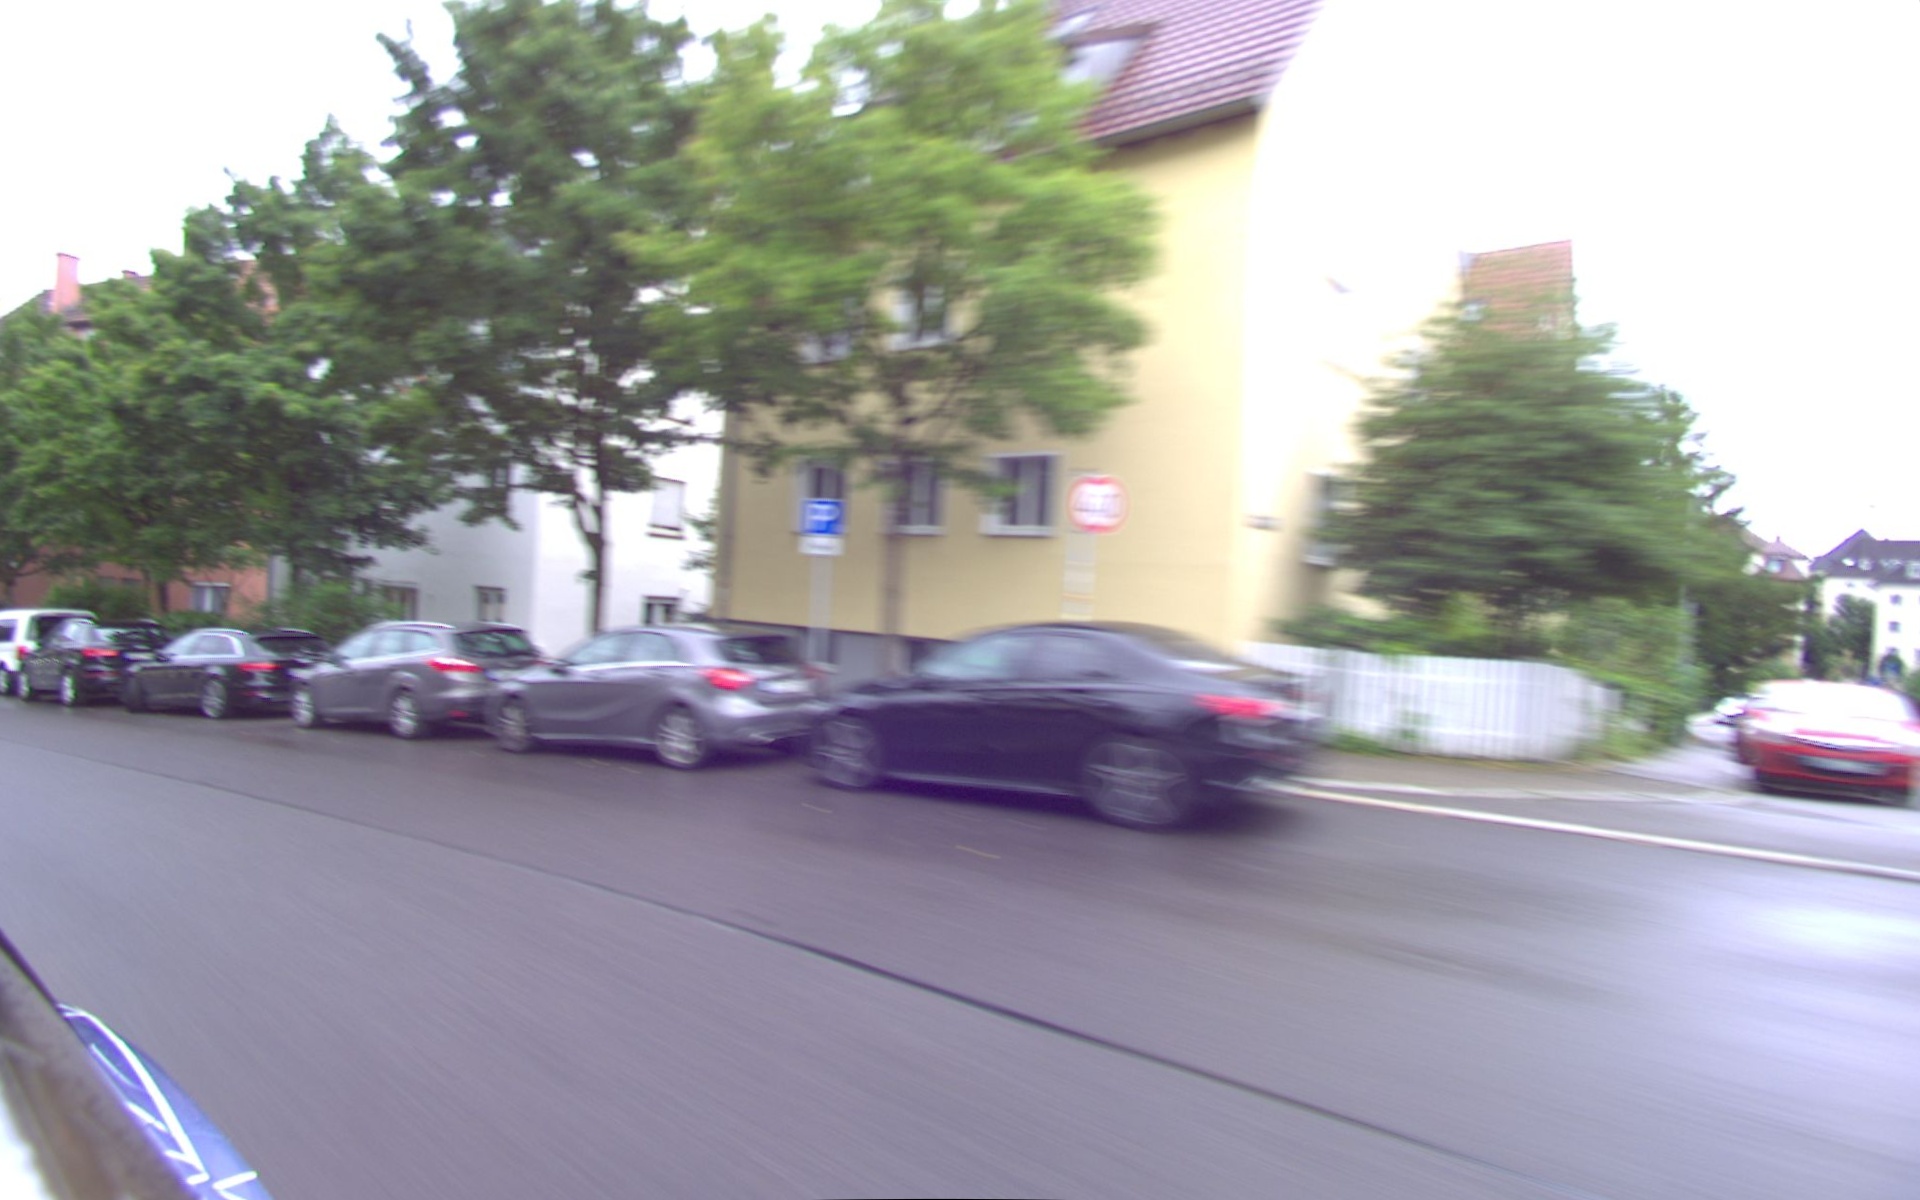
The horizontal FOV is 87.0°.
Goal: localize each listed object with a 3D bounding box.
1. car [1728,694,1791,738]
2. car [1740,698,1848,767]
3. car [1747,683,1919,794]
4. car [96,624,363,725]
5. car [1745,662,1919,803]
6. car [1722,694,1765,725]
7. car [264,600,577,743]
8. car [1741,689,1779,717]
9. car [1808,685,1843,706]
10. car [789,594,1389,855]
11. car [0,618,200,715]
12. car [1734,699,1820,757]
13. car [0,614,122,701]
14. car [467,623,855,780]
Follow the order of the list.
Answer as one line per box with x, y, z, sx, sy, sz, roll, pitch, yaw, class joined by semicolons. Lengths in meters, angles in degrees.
34.119;4.971;43.226;1.998;1.543;3.949;1;-7;38;car
21.239;3.410;25.892;1.998;1.455;3.949;1;-7;38;car
14.163;2.262;16.572;1.998;1.455;3.949;1;-7;38;car
-12.335;1.177;17.030;4.720;1.510;1.841;-1;-2;29;car
11.290;1.718;12.906;1.998;1.455;3.949;1;-7;38;car
47.661;6.689;61.581;1.998;1.543;3.949;1;-7;38;car
-7.567;0.931;14.084;4.540;1.703;1.839;-1;-3;33;car
54.803;7.068;69.355;1.998;1.543;3.949;1;-7;38;car
79.615;8.778;93.085;3.939;1.543;2.003;9;-7;-42;car
0.831;0.771;8.101;4.509;1.552;1.758;-1;-1;37;car
-16.845;1.208;19.666;4.573;1.680;1.839;-1;-1;33;car
25.804;4.078;32.051;1.998;1.543;3.949;1;-7;38;car
-21.077;1.259;22.793;4.462;1.790;1.842;-1;-3;29;car
-3.314;0.971;10.932;4.309;1.407;1.601;-1;-2;32;car
